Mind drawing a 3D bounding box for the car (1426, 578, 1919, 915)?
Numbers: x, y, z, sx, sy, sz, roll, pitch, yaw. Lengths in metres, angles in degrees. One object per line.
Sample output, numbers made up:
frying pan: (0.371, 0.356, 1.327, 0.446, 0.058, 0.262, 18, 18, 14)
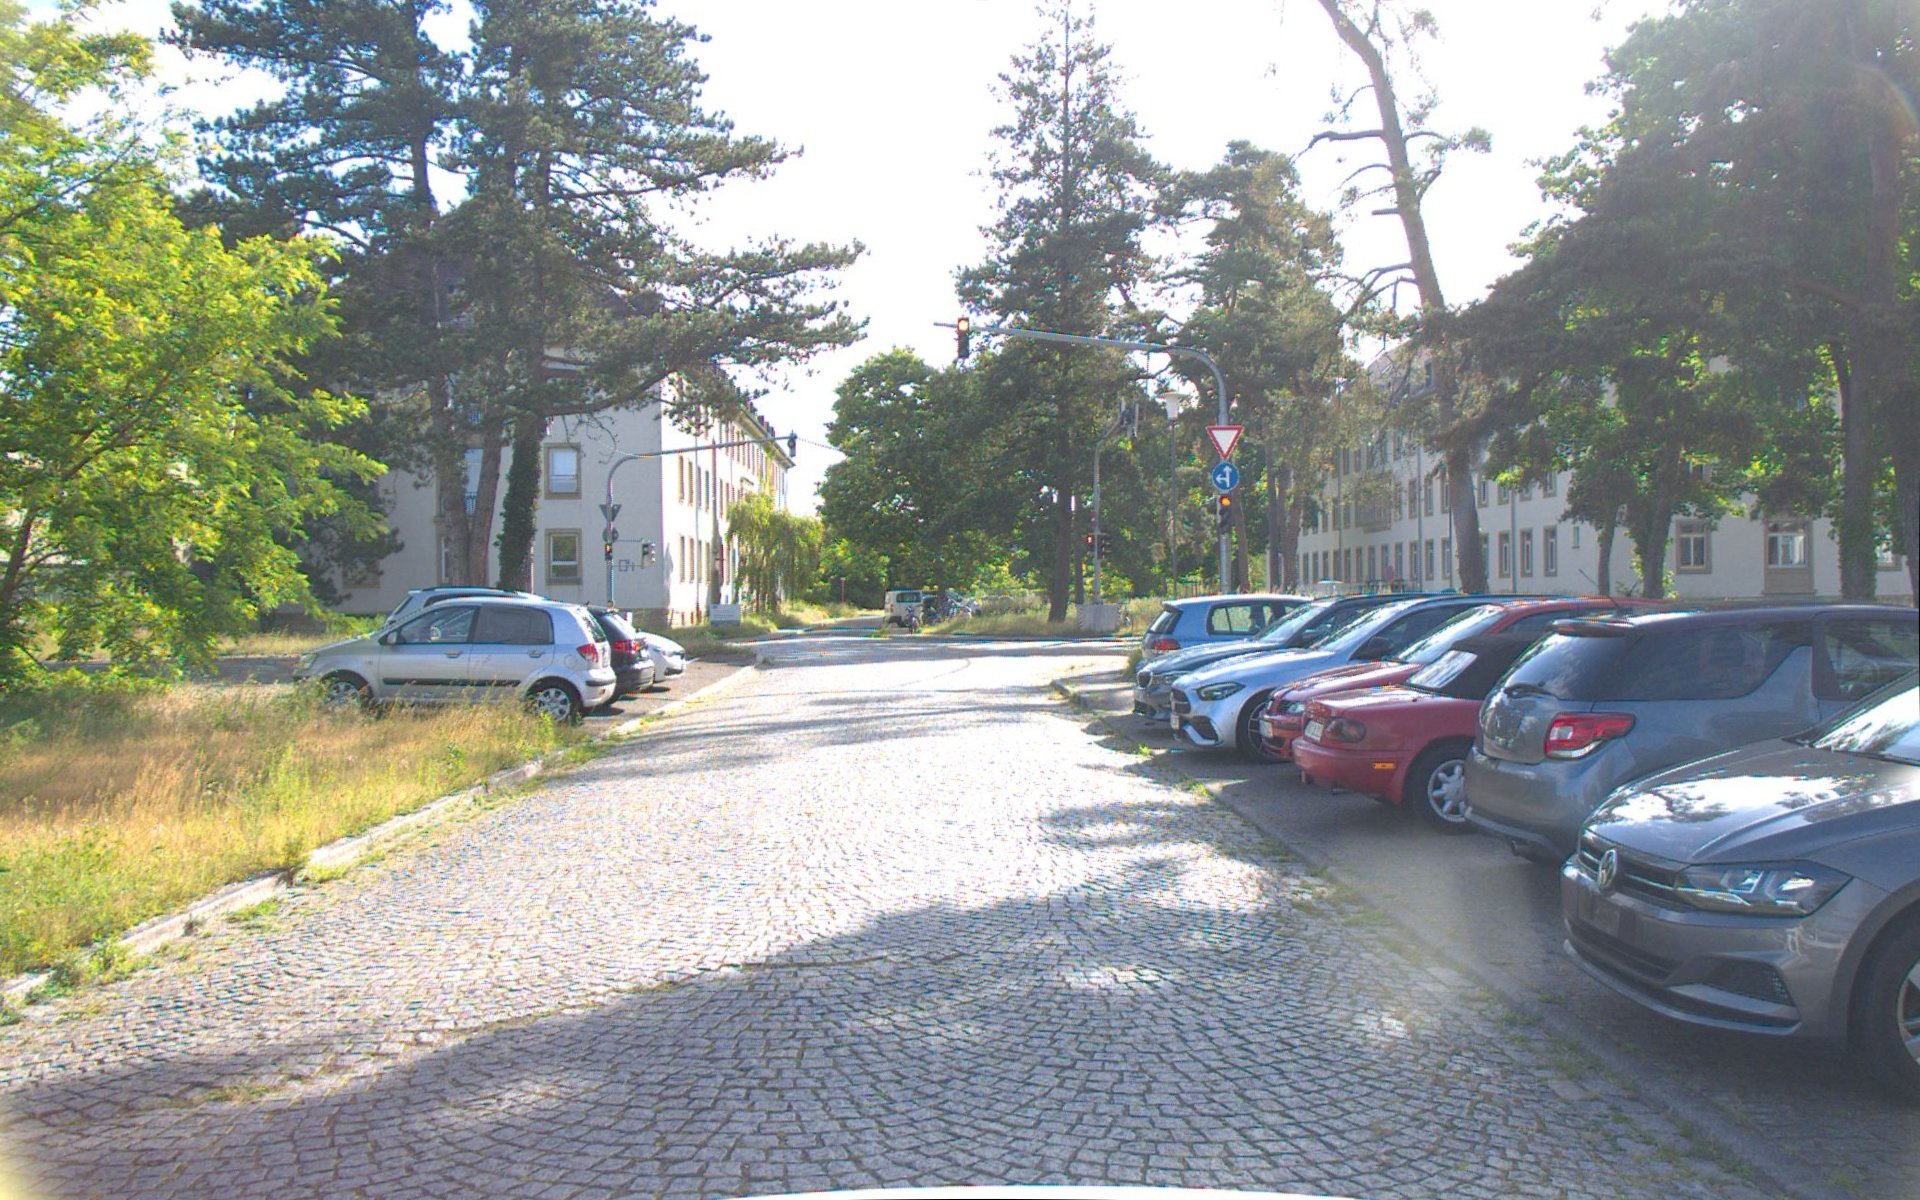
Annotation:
car: (4.559, 0.662, 8.731, 3.632, 1.474, 1.816, -2, 0, -2)

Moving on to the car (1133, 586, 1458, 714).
car: (4.247, 0.610, 21.303, 3.804, 1.440, 1.636, -2, 0, -1)

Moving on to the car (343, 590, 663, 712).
car: (-6.162, 0.672, 22.663, 3.909, 1.506, 1.801, 1, 0, -5)

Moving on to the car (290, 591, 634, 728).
car: (-5.935, 0.694, 20.046, 3.673, 1.513, 1.644, 1, 0, -5)

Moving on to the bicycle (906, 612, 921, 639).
bicycle: (-1.874, 1.020, 66.404, 0.458, 1.028, 1.584, 1, -1, -5)

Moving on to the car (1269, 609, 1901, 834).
car: (4.120, 0.768, 11.319, 3.632, 1.244, 1.746, -2, 0, -1)

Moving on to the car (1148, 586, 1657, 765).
car: (4.101, 0.671, 15.802, 4.342, 1.440, 1.780, -2, 0, -1)

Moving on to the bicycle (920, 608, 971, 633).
bicycle: (-0.621, 0.872, 70.042, 2.070, 1.028, 0.619, 2, -1, -9)

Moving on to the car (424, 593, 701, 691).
car: (-6.613, 0.684, 27.895, 4.248, 1.494, 1.829, 1, 0, -5)

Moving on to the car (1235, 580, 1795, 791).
car: (4.462, 0.653, 13.673, 4.044, 1.474, 1.636, -2, 0, -1)

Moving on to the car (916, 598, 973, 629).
car: (-0.791, 0.670, 84.504, 2.728, 1.492, 1.669, 2, -1, -6)

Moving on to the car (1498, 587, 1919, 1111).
car: (4.043, 0.691, 5.846, 3.632, 1.474, 1.856, -2, 0, -1)

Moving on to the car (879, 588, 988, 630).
car: (-1.419, 0.474, 88.078, 5.439, 2.049, 1.988, 2, -1, -20)

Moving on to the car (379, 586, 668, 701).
car: (-6.668, 0.646, 25.609, 4.000, 1.621, 1.884, 1, 0, -5)

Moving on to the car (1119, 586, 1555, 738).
car: (4.121, 0.654, 18.519, 4.467, 1.440, 1.636, -2, 0, -1)

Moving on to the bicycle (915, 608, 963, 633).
bicycle: (-0.919, 0.882, 71.734, 1.968, 1.028, 0.630, 2, -1, -9)

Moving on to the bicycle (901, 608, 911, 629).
bicycle: (-2.591, 0.888, 79.625, 0.409, 1.028, 1.483, 1, -1, -1)
